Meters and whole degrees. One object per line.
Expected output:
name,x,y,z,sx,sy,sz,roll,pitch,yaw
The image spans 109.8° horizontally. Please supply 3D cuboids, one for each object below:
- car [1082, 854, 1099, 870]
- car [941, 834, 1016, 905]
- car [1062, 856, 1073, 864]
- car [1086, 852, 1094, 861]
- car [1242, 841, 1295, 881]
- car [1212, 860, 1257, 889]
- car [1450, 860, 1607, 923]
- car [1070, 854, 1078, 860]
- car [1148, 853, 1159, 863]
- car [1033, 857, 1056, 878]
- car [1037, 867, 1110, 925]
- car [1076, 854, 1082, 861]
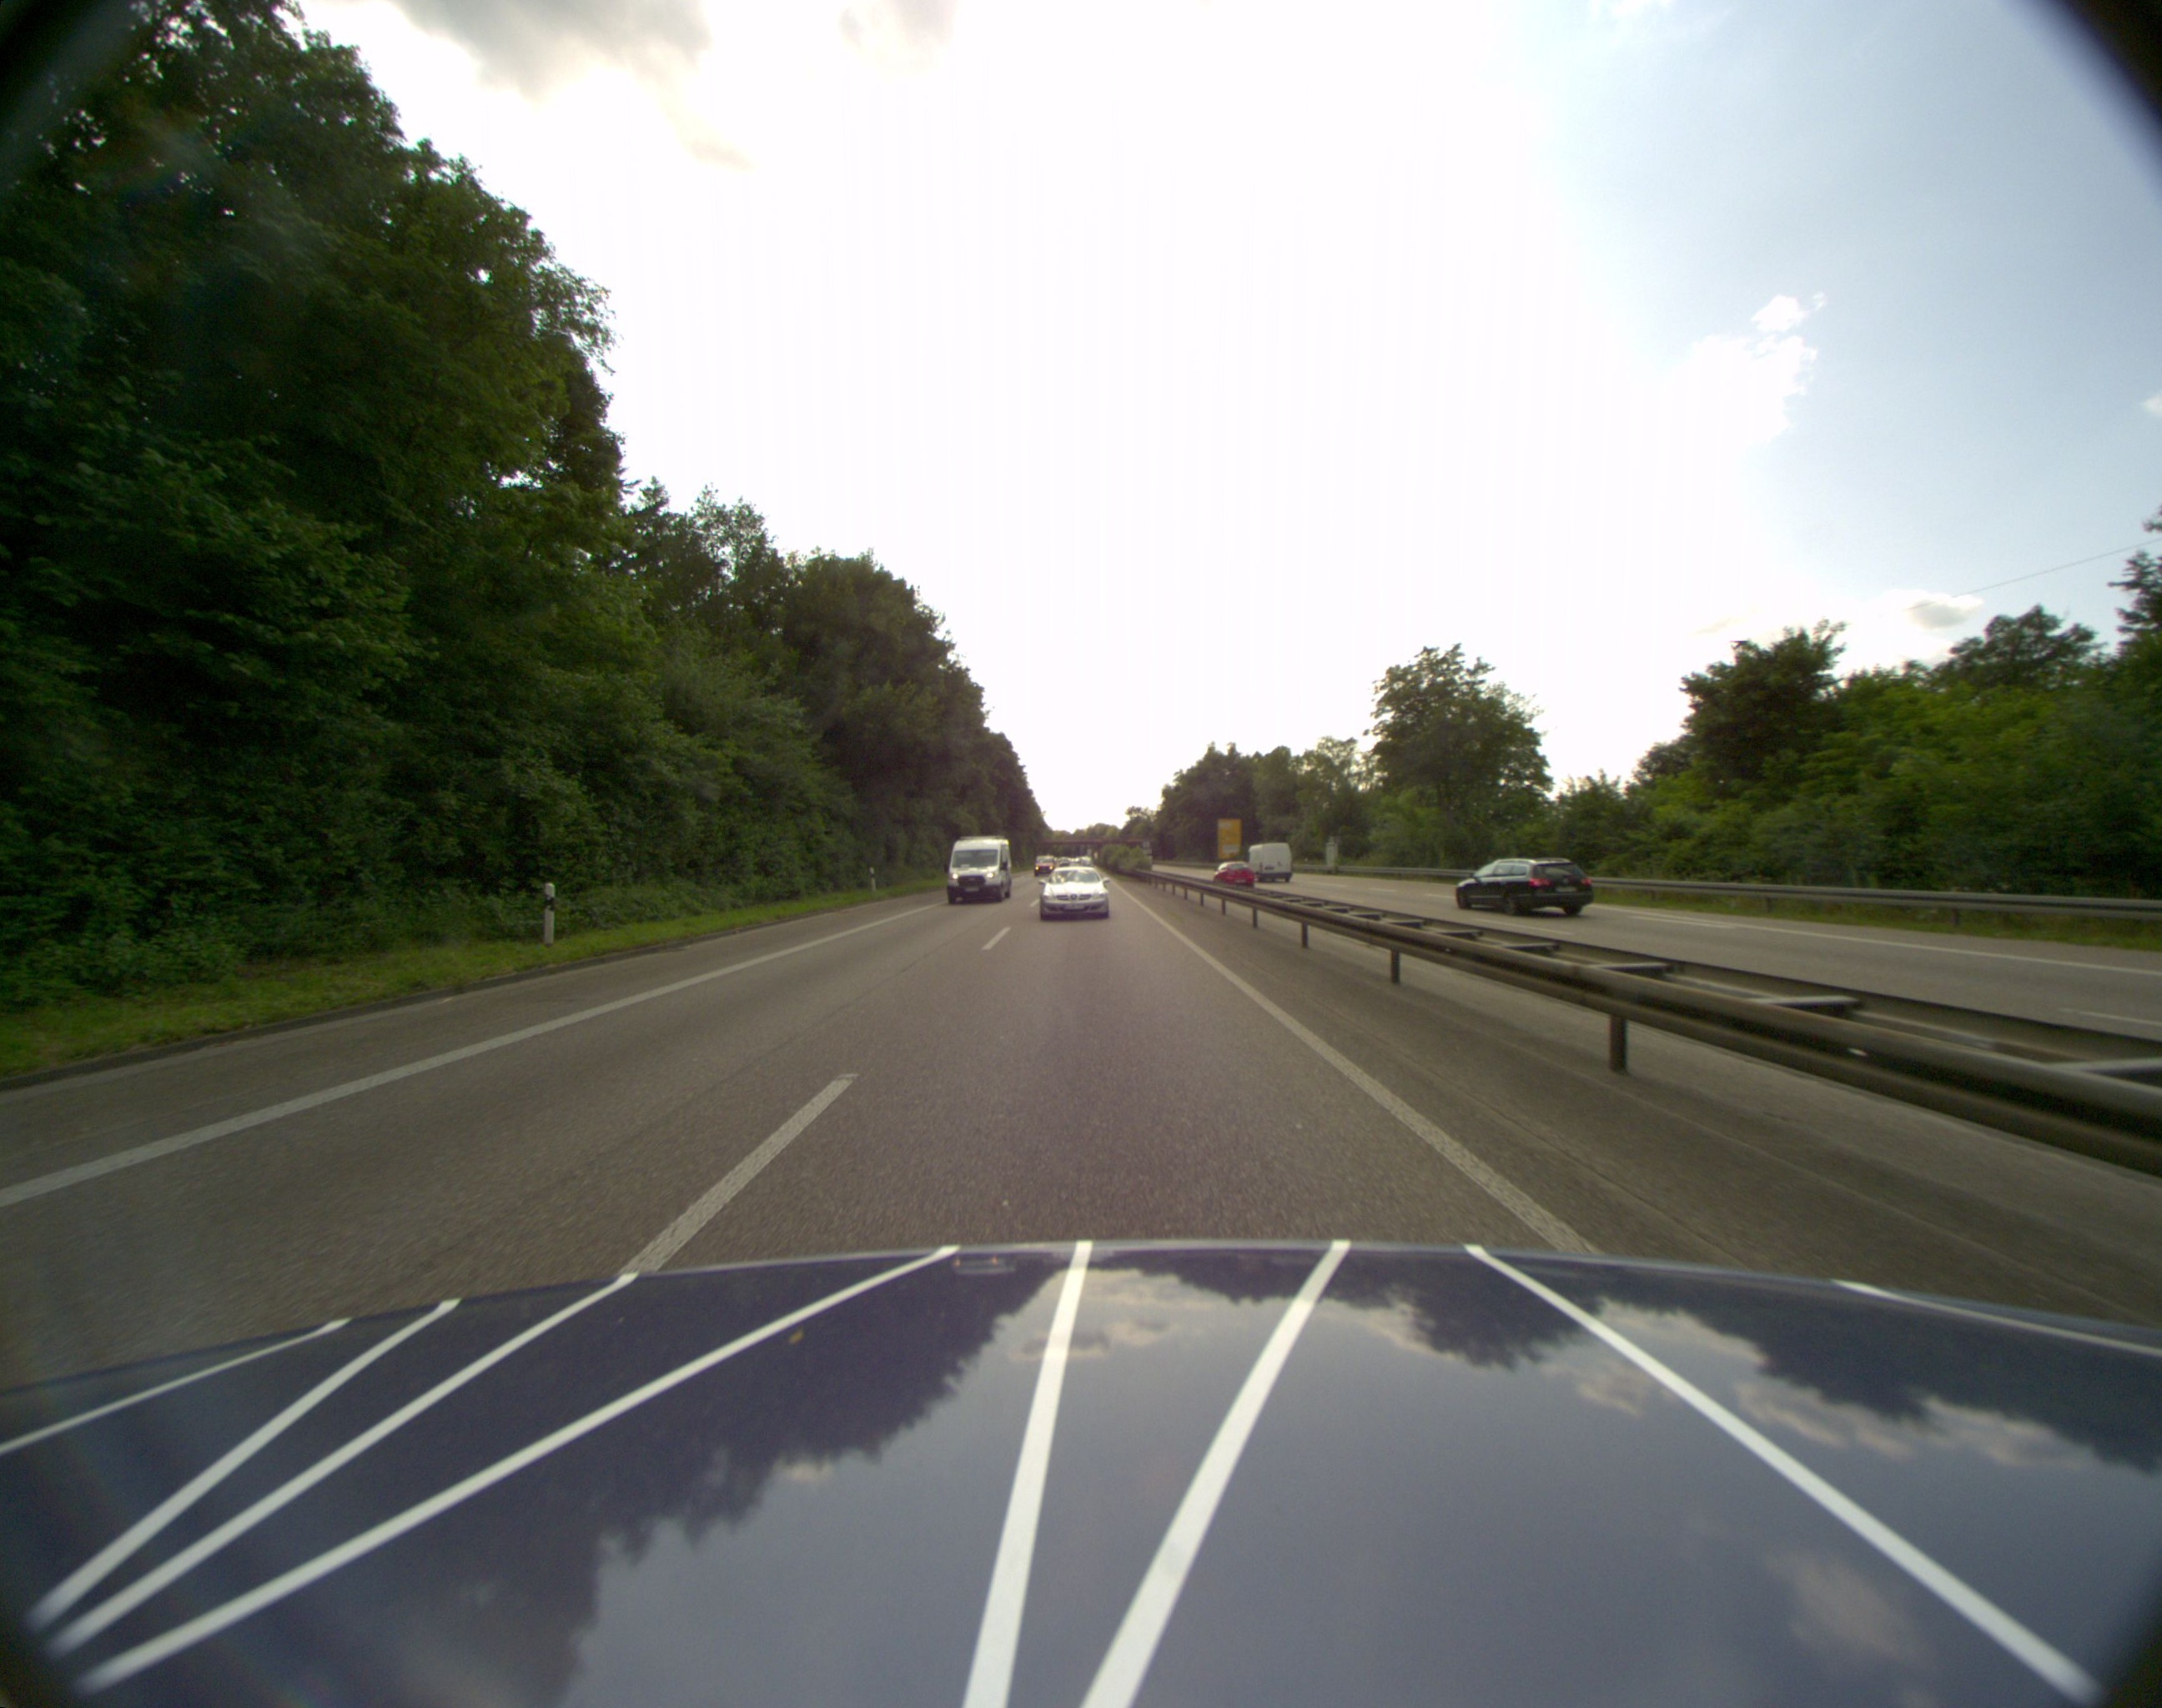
car,1.172,0.995,94.808,1.998,2.002,4.000,-1,0,0
car,-3.919,0.565,30.037,2.104,2.493,5.279,-2,0,0
car,-2.497,1.084,139.827,1.889,1.516,4.000,0,0,0
car,1.565,0.488,131.752,1.472,1.560,3.295,0,0,1
car,12.316,0.425,50.230,2.116,2.408,5.831,-2,0,1
car,8.159,1.075,40.757,1.682,1.446,4.128,0,0,1
car,12.352,0.960,21.371,1.790,1.469,4.570,-2,0,1
car,-1.982,0.814,207.704,1.977,1.707,4.000,0,0,1
car,14.180,0.806,149.489,1.867,1.937,4.000,0,0,1
car,-3.403,1.209,71.366,1.908,1.795,4.395,-2,0,0
car,-0.197,1.082,21.400,1.751,1.295,5.223,-2,0,0
car,-0.657,1.013,237.241,1.998,2.002,4.000,-1,0,0
